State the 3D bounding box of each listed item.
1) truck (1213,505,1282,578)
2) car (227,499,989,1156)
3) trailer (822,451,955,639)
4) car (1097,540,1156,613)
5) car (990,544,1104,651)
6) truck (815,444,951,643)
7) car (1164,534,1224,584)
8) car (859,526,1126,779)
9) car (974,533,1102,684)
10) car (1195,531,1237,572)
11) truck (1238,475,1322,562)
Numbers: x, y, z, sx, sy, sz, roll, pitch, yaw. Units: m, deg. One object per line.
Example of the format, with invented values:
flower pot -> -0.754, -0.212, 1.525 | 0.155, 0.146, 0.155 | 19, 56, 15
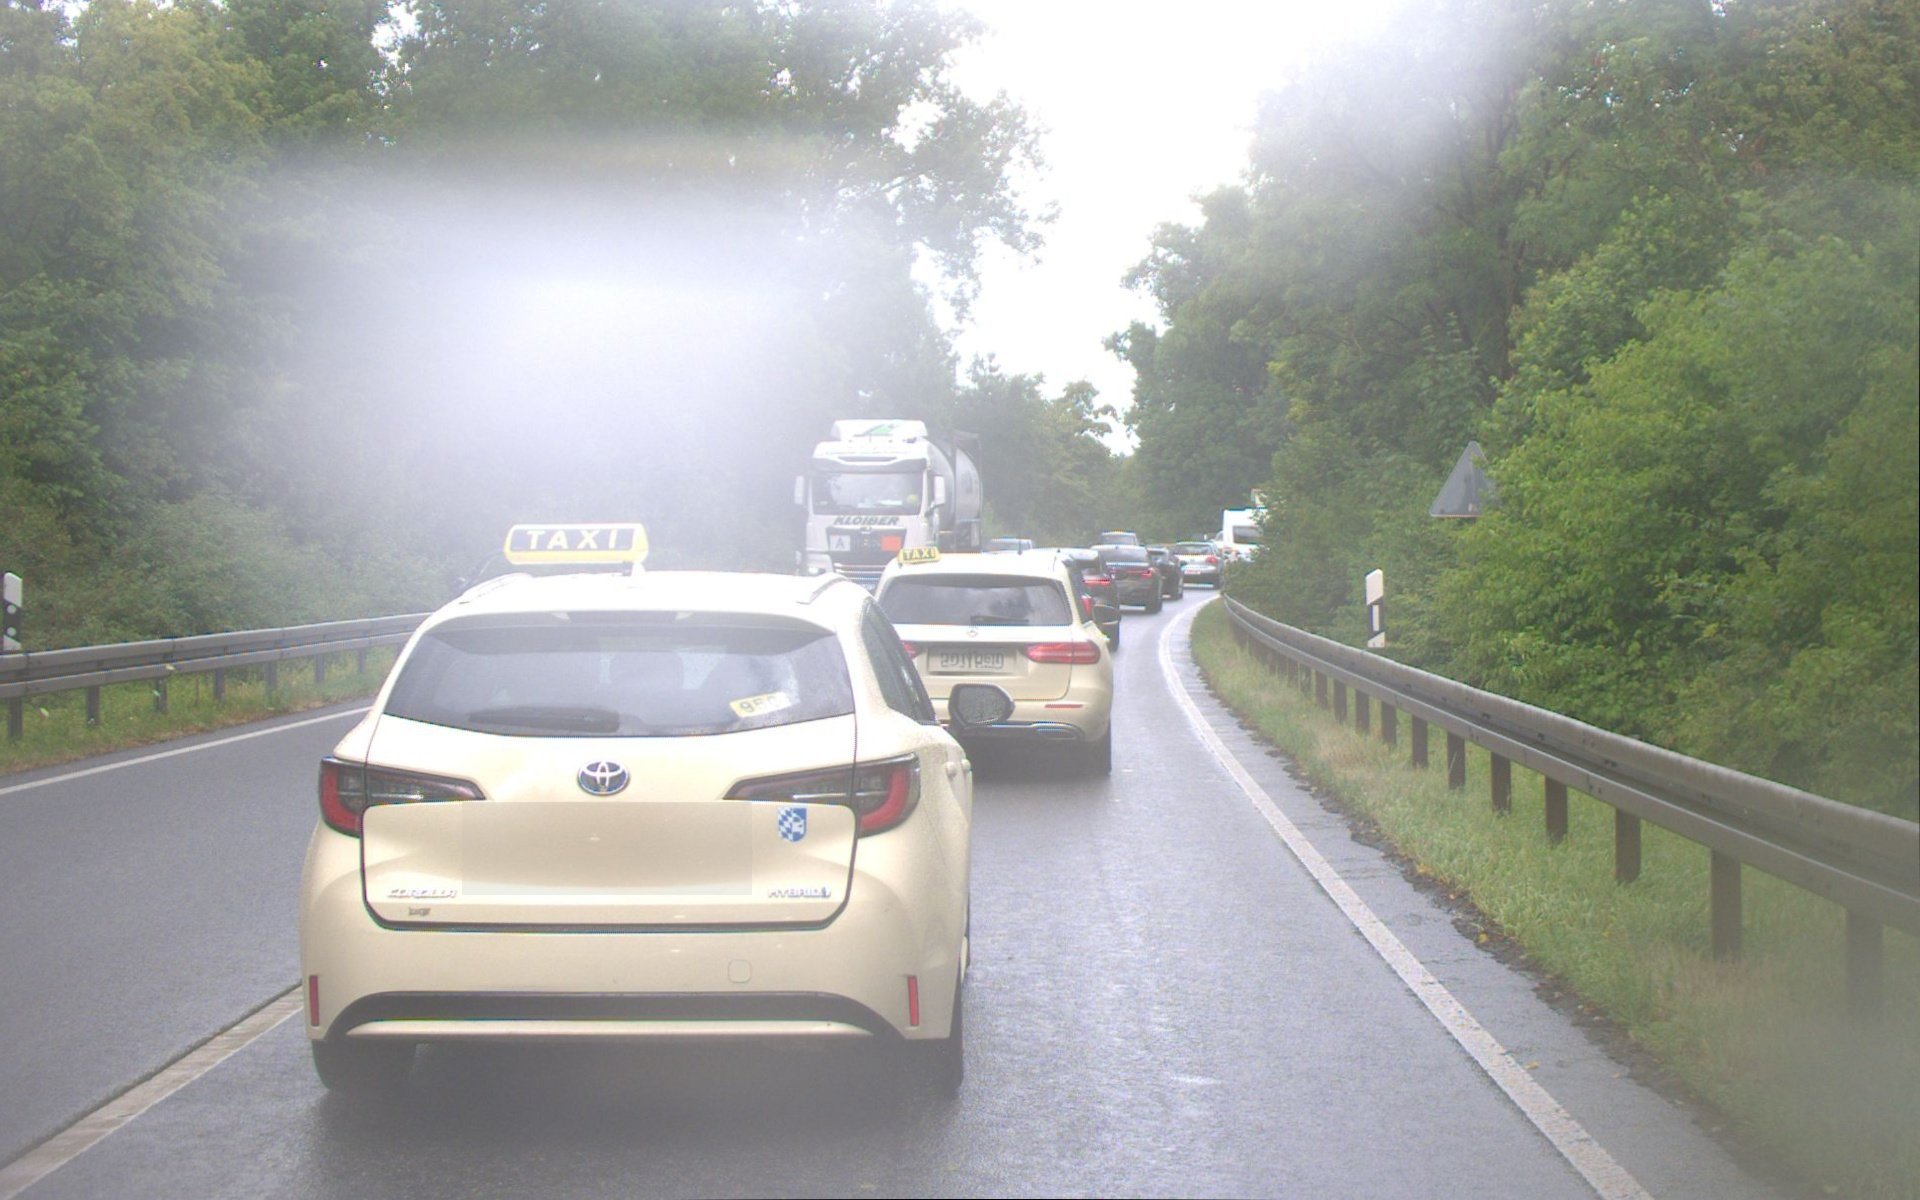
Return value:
truck -> 11.064, -2.212, 132.543 | 2.550, 2.704, 7.534 | 1, 0, 4
car -> -0.862, 0.540, 10.447 | 1.834, 1.575, 4.157 | 1, 0, 0
trailer -> -1.472, -1.154, 74.497 | 2.536, 3.812, 7.791 | 1, 0, 1
car -> 3.632, -0.501, 74.707 | 1.167, 1.541, 2.603 | 1, 0, 5
car -> 1.338, -0.061, 51.647 | 1.611, 1.541, 3.814 | 0, 1, 3
truck -> -1.495, -1.116, 69.117 | 2.536, 3.812, 5.245 | 1, 0, 0
car -> 7.498, -1.308, 109.927 | 1.770, 1.541, 3.813 | 1, 0, 6
car -> 0.252, 0.316, 23.680 | 1.667, 1.575, 3.892 | 1, 0, 1
car -> 0.851, 0.076, 37.131 | 1.300, 1.541, 3.260 | 1, 0, 2
car -> 13.172, -2.485, 176.969 | 1.584, 2.007, 3.759 | 1, 0, 13
truck -> 14.230, -3.564, 152.322 | 3.108, 3.668, 6.997 | 1, 0, 10
